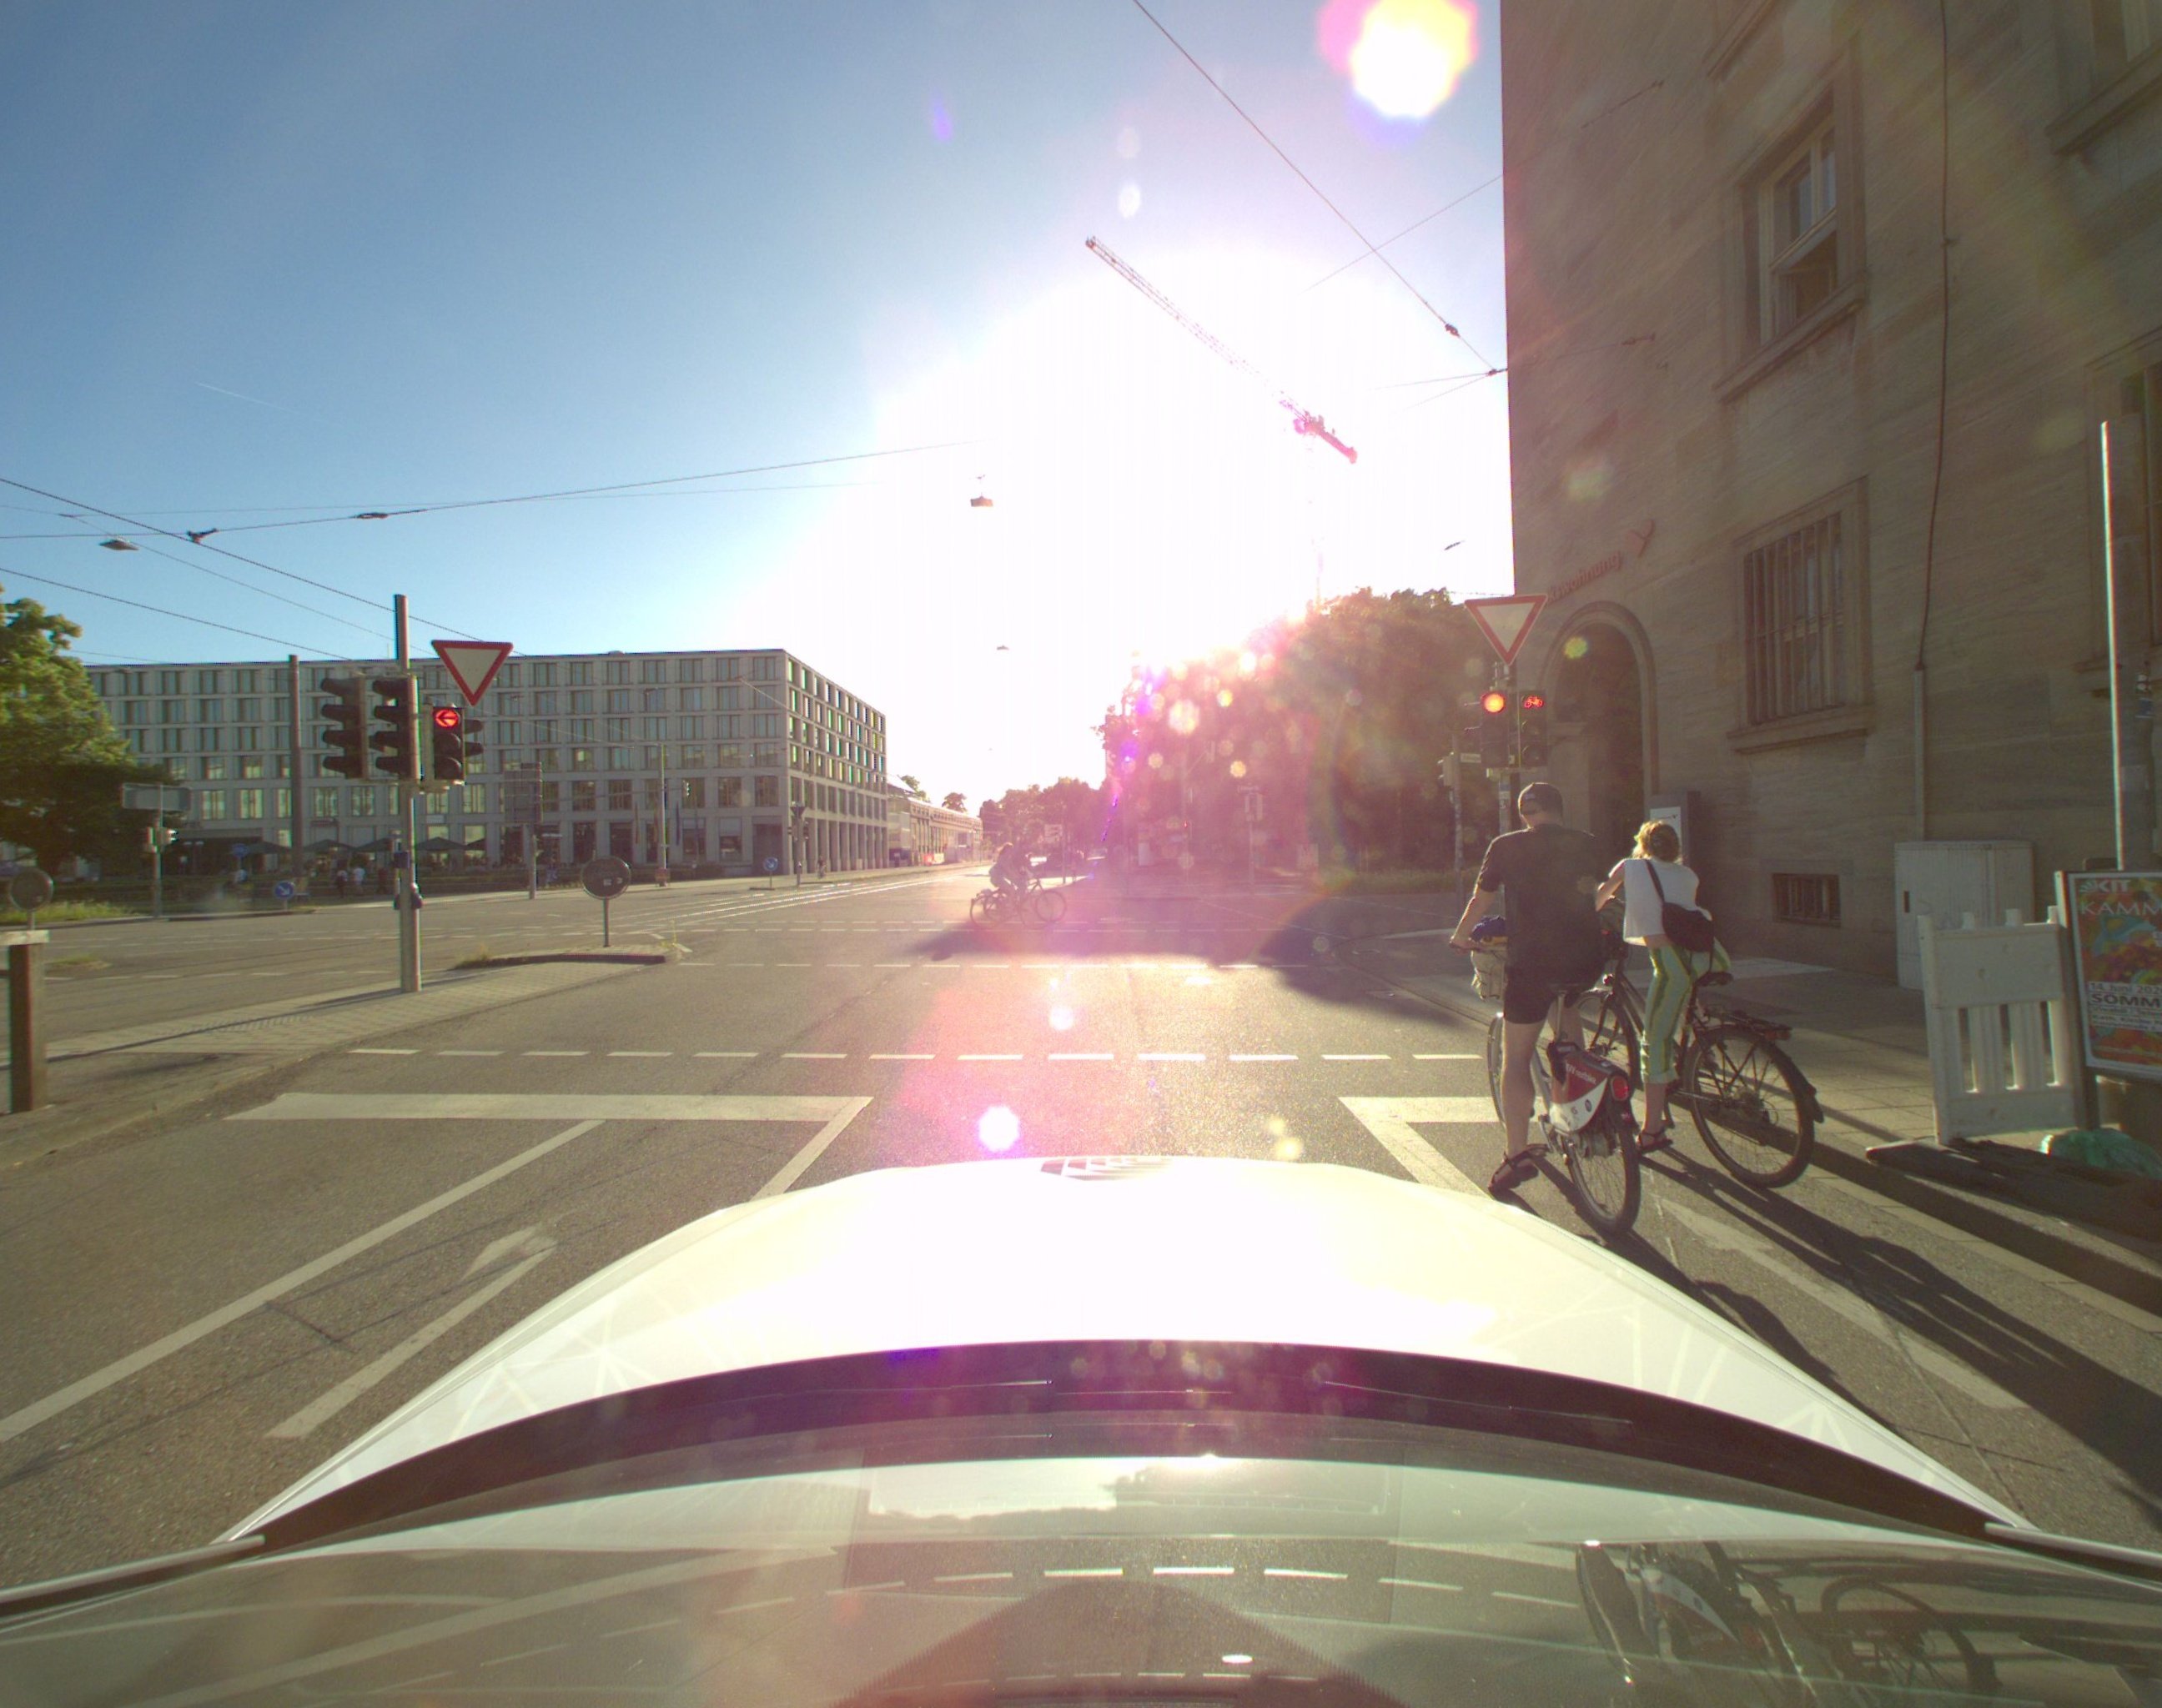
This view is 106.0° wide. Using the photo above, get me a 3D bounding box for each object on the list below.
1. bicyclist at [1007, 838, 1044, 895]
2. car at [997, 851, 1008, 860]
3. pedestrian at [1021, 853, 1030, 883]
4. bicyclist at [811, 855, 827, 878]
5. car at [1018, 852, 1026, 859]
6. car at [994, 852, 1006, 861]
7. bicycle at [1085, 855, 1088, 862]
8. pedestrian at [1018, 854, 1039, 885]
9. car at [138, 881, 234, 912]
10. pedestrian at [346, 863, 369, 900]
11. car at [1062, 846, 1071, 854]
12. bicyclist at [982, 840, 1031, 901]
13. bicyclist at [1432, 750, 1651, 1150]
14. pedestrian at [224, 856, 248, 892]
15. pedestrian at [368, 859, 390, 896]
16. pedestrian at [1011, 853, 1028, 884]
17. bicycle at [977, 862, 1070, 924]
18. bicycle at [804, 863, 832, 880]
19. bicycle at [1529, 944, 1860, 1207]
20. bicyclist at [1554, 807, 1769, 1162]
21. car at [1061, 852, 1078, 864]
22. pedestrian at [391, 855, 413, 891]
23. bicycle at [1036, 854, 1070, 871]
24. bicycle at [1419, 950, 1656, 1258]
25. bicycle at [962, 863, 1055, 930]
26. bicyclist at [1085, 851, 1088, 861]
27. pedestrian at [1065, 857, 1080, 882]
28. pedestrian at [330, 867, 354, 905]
[{"bbox_3d":[-1.235,0.272,18.266,0.718,1.218,0.798,-2,0,1],"label":"bicyclist"},{"bbox_3d":[-15.520,0.342,160.743,1.724,1.653,4.002,-2,0,2],"label":"car"},{"bbox_3d":[-3.095,0.771,45.206,0.440,1.662,0.376,-2,0,1],"label":"pedestrian"},{"bbox_3d":[-19.173,0.916,59.589,0.872,1.641,0.822,-2,0,3],"label":"bicyclist"},{"bbox_3d":[-14.073,0.332,194.216,1.478,1.750,4.002,-2,0,2],"label":"car"},{"bbox_3d":[-15.539,0.531,156.693,1.724,1.653,4.002,-2,0,2],"label":"car"},{"bbox_3d":[0.673,0.504,98.475,0.323,0.868,1.484,-2,0,2],"label":"bicycle"},{"bbox_3d":[-2.785,0.813,43.511,0.980,1.587,0.661,-2,-1,3],"label":"pedestrian"},{"bbox_3d":[-46.900,2.197,42.717,3.181,1.438,1.468,-2,0,-7],"label":"car"},{"bbox_3d":[-39.844,1.514,44.875,0.528,2.013,0.800,-2,0,-5],"label":"pedestrian"},{"bbox_3d":[-3.766,-1.076,208.132,1.986,2.013,4.002,-2,0,2],"label":"car"},{"bbox_3d":[-1.536,0.332,16.899,0.922,1.218,0.796,-2,0,-1],"label":"bicyclist"},{"bbox_3d":[2.096,0.412,3.797,0.665,1.678,0.658,-2,0,10],"label":"bicyclist"},{"bbox_3d":[-45.817,1.074,44.139,0.557,1.903,0.684,-2,0,10],"label":"pedestrian"},{"bbox_3d":[-38.970,1.301,45.229,0.528,2.013,0.800,-2,0,-5],"label":"pedestrian"},{"bbox_3d":[-3.335,0.803,44.082,0.792,1.639,0.534,-2,0,4],"label":"pedestrian"},{"bbox_3d":[-1.267,0.862,18.259,1.979,1.291,0.792,-2,0,0],"label":"bicycle"},{"bbox_3d":[-19.191,1.281,59.531,0.872,1.121,3.015,-2,0,3],"label":"bicycle"},{"bbox_3d":[3.094,1.034,4.376,0.424,0.876,1.953,-2,0,5],"label":"bicycle"},{"bbox_3d":[3.010,0.623,4.307,0.519,1.679,0.860,-2,0,5],"label":"bicyclist"},{"bbox_3d":[-1.325,0.437,92.063,1.814,1.279,3.999,-2,0,0],"label":"car"},{"bbox_3d":[-38.339,1.077,45.992,0.528,2.013,0.800,-2,0,-5],"label":"pedestrian"},{"bbox_3d":[-2.325,0.728,67.363,2.728,1.367,0.633,-1,-1,12],"label":"bicycle"},{"bbox_3d":[2.112,1.050,4.026,0.387,0.905,1.956,-2,0,10],"label":"bicycle"},{"bbox_3d":[-1.478,0.857,16.894,1.846,1.291,0.791,-2,0,-2],"label":"bicycle"},{"bbox_3d":[0.689,0.249,98.603,0.317,1.127,0.291,-2,0,1],"label":"bicyclist"},{"bbox_3d":[-0.463,0.848,44.539,0.749,1.332,0.743,-2,0,3],"label":"pedestrian"},{"bbox_3d":[-39.822,1.709,43.876,0.528,2.013,0.800,-2,0,-5],"label":"pedestrian"}]
